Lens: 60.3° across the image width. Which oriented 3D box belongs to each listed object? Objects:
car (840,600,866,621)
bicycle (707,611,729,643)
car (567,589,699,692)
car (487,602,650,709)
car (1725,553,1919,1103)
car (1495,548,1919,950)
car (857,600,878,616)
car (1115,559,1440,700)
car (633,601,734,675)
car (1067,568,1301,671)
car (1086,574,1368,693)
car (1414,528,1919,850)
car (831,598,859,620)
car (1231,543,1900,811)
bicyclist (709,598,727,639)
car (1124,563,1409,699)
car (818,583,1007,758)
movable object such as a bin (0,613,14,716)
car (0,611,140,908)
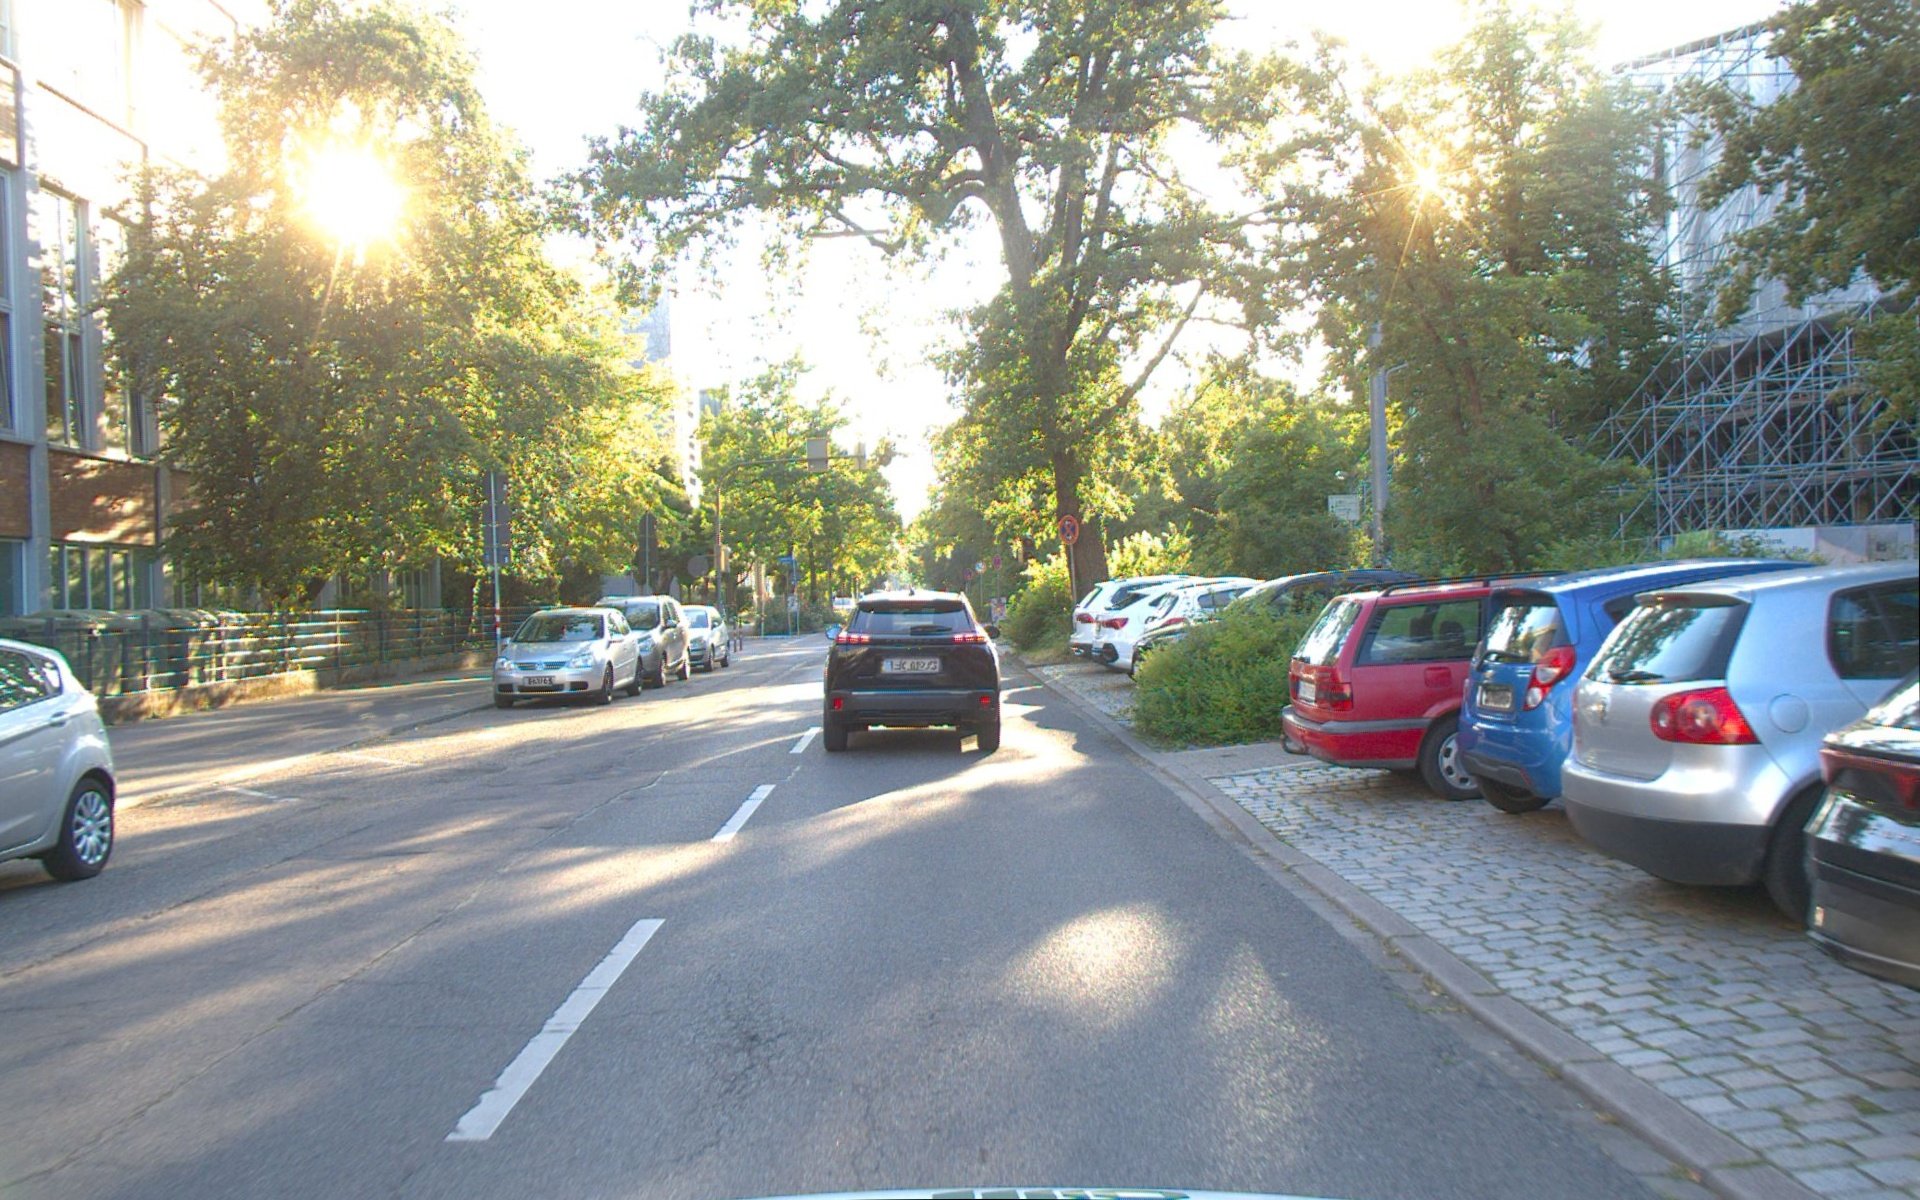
[{"bbox_3d":[-7.858,0.754,121.329,1.775,1.377,3.996,-2,0,-5],"label":"car"},{"bbox_3d":[-9.898,1.102,67.698,0.673,1.271,2.191,-1,0,-4],"label":"bicycle"},{"bbox_3d":[-6.204,0.712,31.797,1.645,1.738,4.340,-3,1,-1],"label":"car"},{"bbox_3d":[-6.133,0.819,26.349,1.637,1.520,4.060,-1,0,-1],"label":"car"},{"bbox_3d":[4.620,0.482,4.622,4.037,1.500,1.832,-5,0,0],"label":"car"},{"bbox_3d":[4.695,0.497,7.519,3.845,1.479,1.832,-5,0,0],"label":"car"},{"bbox_3d":[-8.659,0.734,155.153,1.775,1.377,3.975,-2,0,-5],"label":"car"},{"bbox_3d":[3.899,0.345,20.683,3.670,1.622,1.696,-1,0,-4],"label":"car"},{"bbox_3d":[-6.321,0.839,38.167,1.645,1.482,3.881,-3,1,-1],"label":"car"},{"bbox_3d":[4.035,0.350,30.321,4.083,1.740,1.868,-1,0,3],"label":"car"},{"bbox_3d":[4.053,0.497,25.546,4.039,1.696,1.722,-1,0,-1],"label":"car"},{"bbox_3d":[4.912,0.442,10.140,3.641,1.582,1.740,-5,0,-5],"label":"car"},{"bbox_3d":[-8.030,0.604,115.079,1.776,1.377,3.995,-2,0,-6],"label":"car"},{"bbox_3d":[4.329,0.510,12.280,4.250,1.500,1.742,-5,1,-1],"label":"car"},{"bbox_3d":[-9.905,0.753,67.746,0.662,1.631,0.706,-1,0,-4],"label":"bicyclist"},{"bbox_3d":[4.209,0.421,23.107,3.517,1.593,1.817,-4,-1,-2],"label":"car"},{"bbox_3d":[-0.508,0.642,17.195,1.733,1.596,3.379,-1,1,-2],"label":"car"},{"bbox_3d":[-14.245,0.936,23.215,1.076,1.455,1.372,-1,0,2],"label":"movable object such as a bin"},{"bbox_3d":[-5.806,0.892,8.238,1.569,1.519,3.771,-3,1,-2],"label":"car"}]
